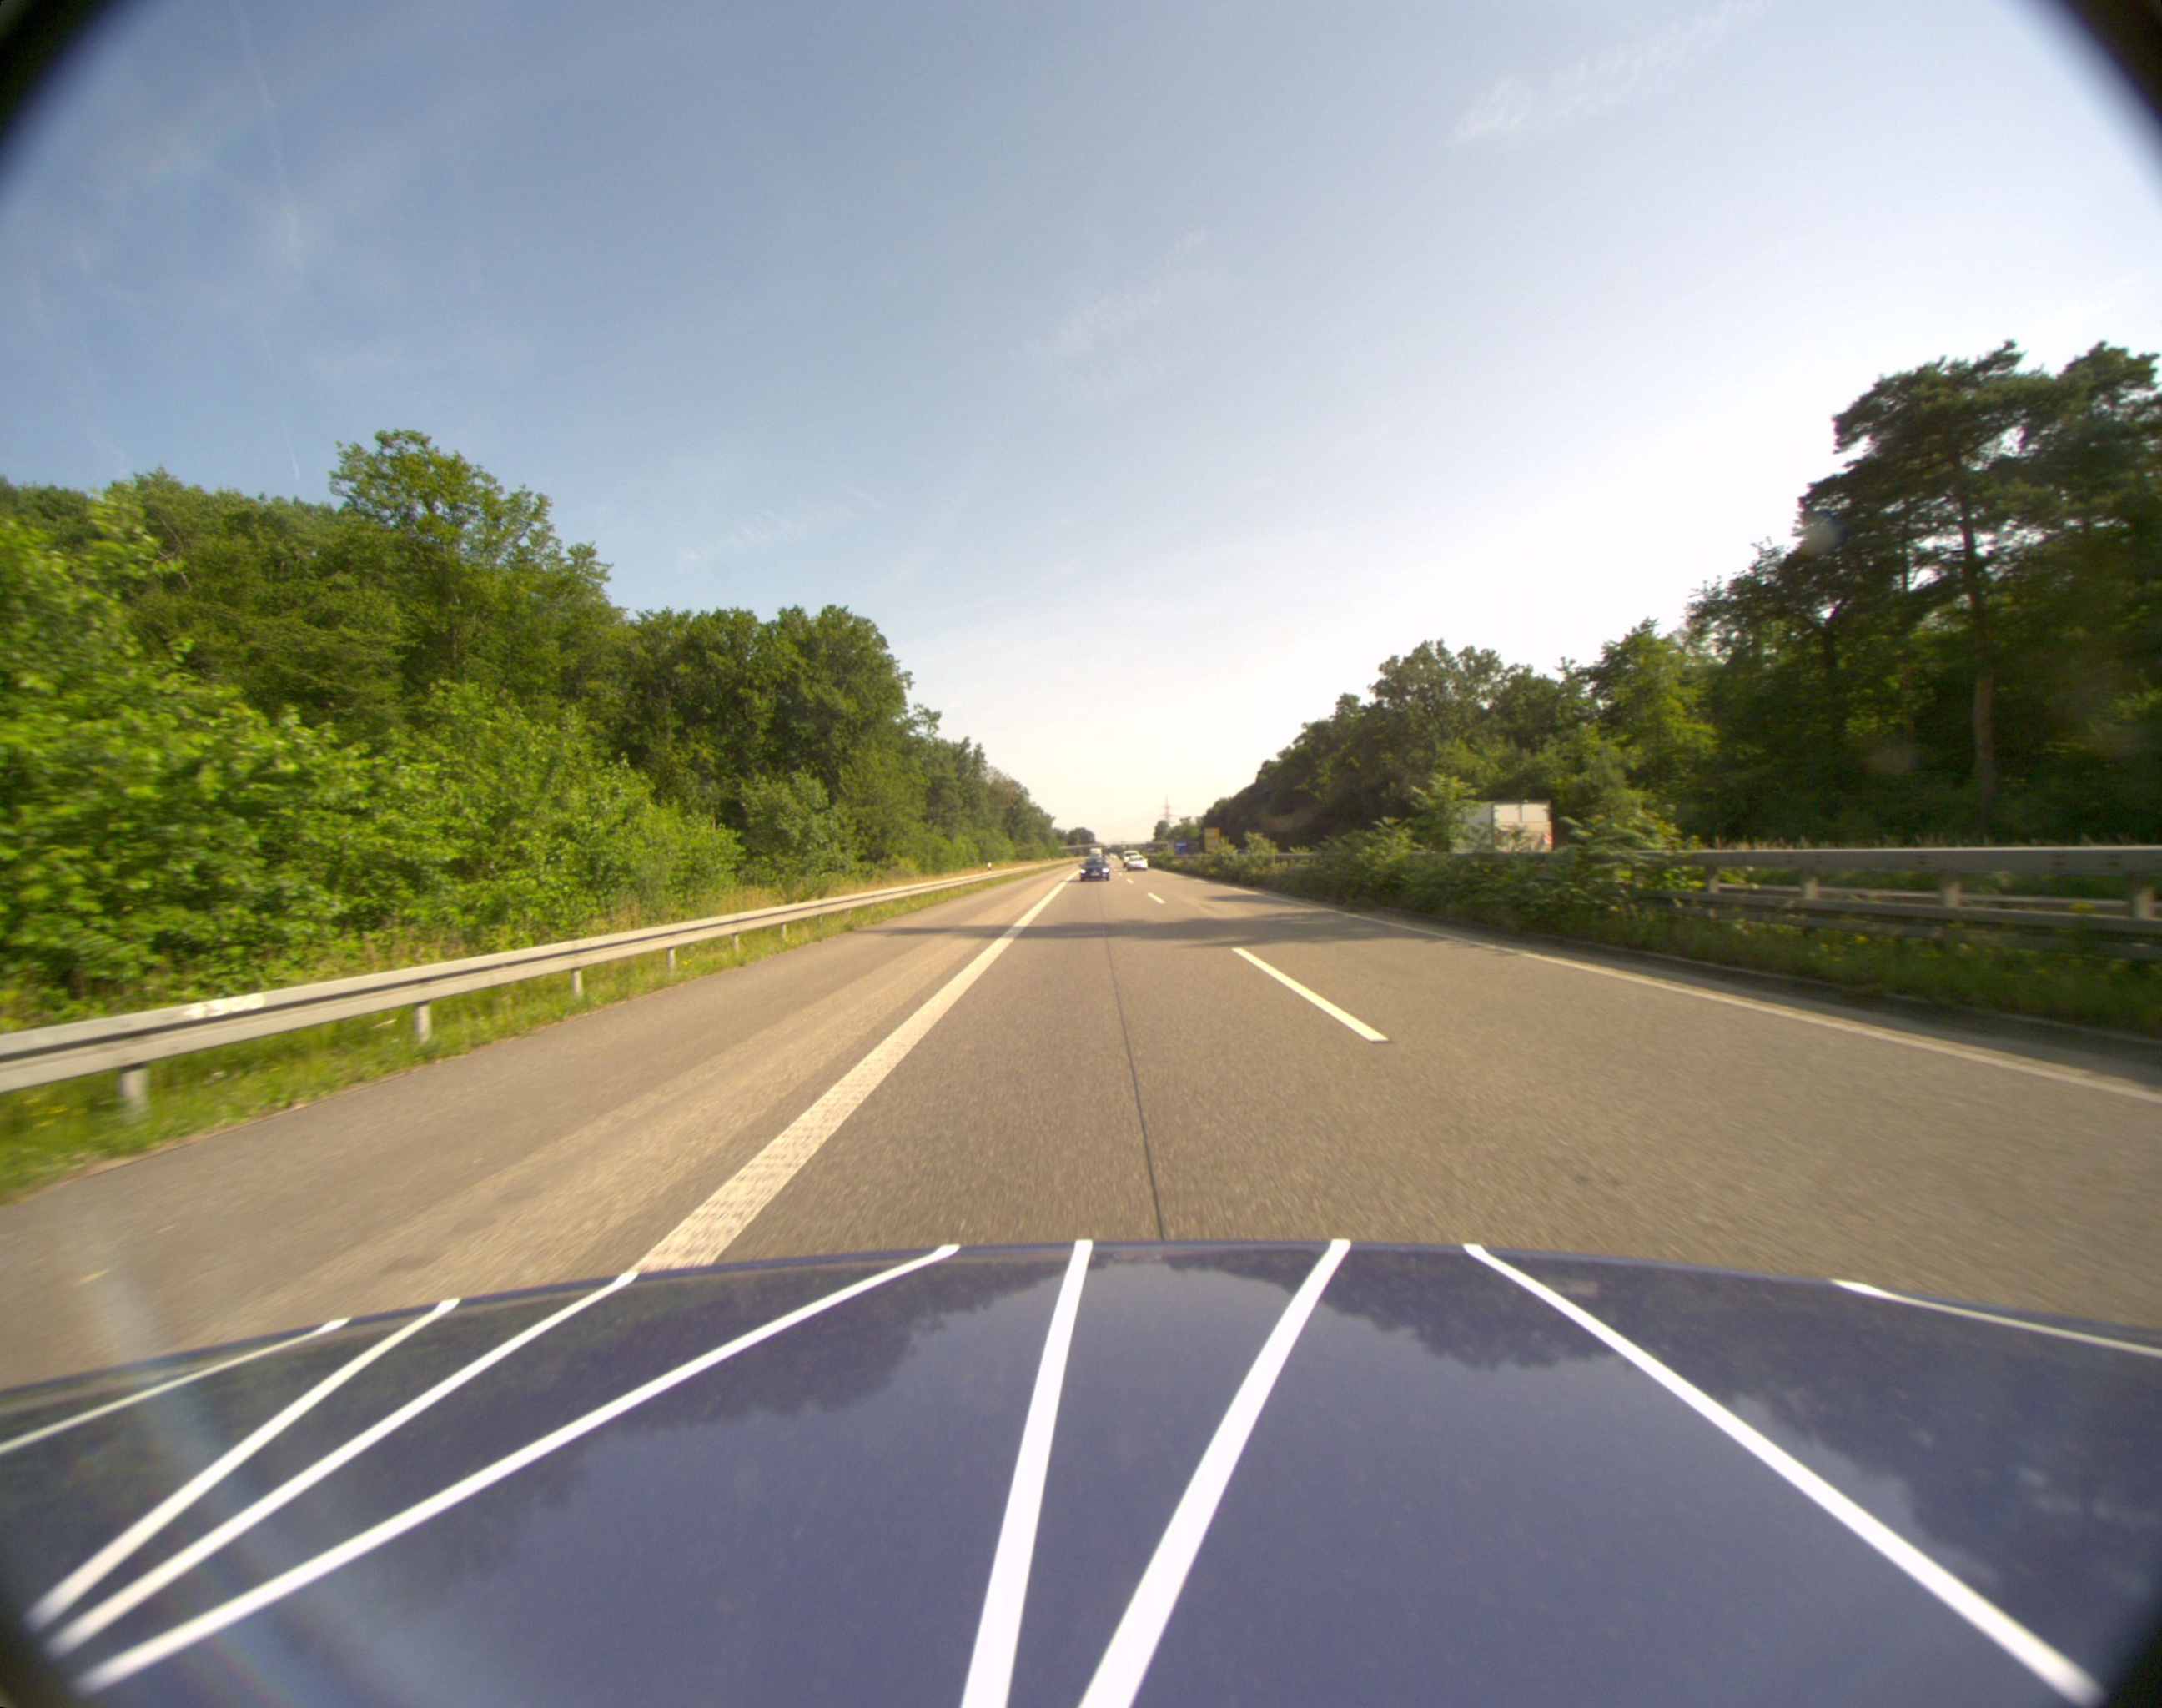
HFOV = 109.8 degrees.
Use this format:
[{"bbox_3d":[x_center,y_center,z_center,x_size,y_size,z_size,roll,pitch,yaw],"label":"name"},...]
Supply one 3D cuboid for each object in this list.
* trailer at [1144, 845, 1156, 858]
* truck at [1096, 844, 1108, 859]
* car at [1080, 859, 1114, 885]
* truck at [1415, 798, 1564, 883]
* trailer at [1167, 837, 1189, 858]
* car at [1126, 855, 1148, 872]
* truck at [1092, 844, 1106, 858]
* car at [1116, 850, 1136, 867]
[{"bbox_3d":[22.329,-0.781,247.130,2.973,4.046,14.317,-1,0,1],"label":"trailer"},{"bbox_3d":[6.128,-0.682,221.488,2.695,4.061,12.363,-2,0,-1],"label":"truck"},{"bbox_3d":[0.850,0.959,41.670,1.789,1.285,3.538,-2,0,0],"label":"car"},{"bbox_3d":[16.814,-0.520,31.947,2.468,3.158,7.227,0,0,1],"label":"truck"},{"bbox_3d":[18.936,-1.257,148.772,2.899,3.984,13.324,0,0,2],"label":"trailer"},{"bbox_3d":[5.287,0.861,72.560,1.754,1.477,5.264,-2,0,1],"label":"car"},{"bbox_3d":[3.969,-0.690,168.945,2.695,3.020,10.370,-2,0,-1],"label":"truck"},{"bbox_3d":[5.309,0.515,90.916,1.912,1.934,4.705,-2,0,-2],"label":"car"}]
